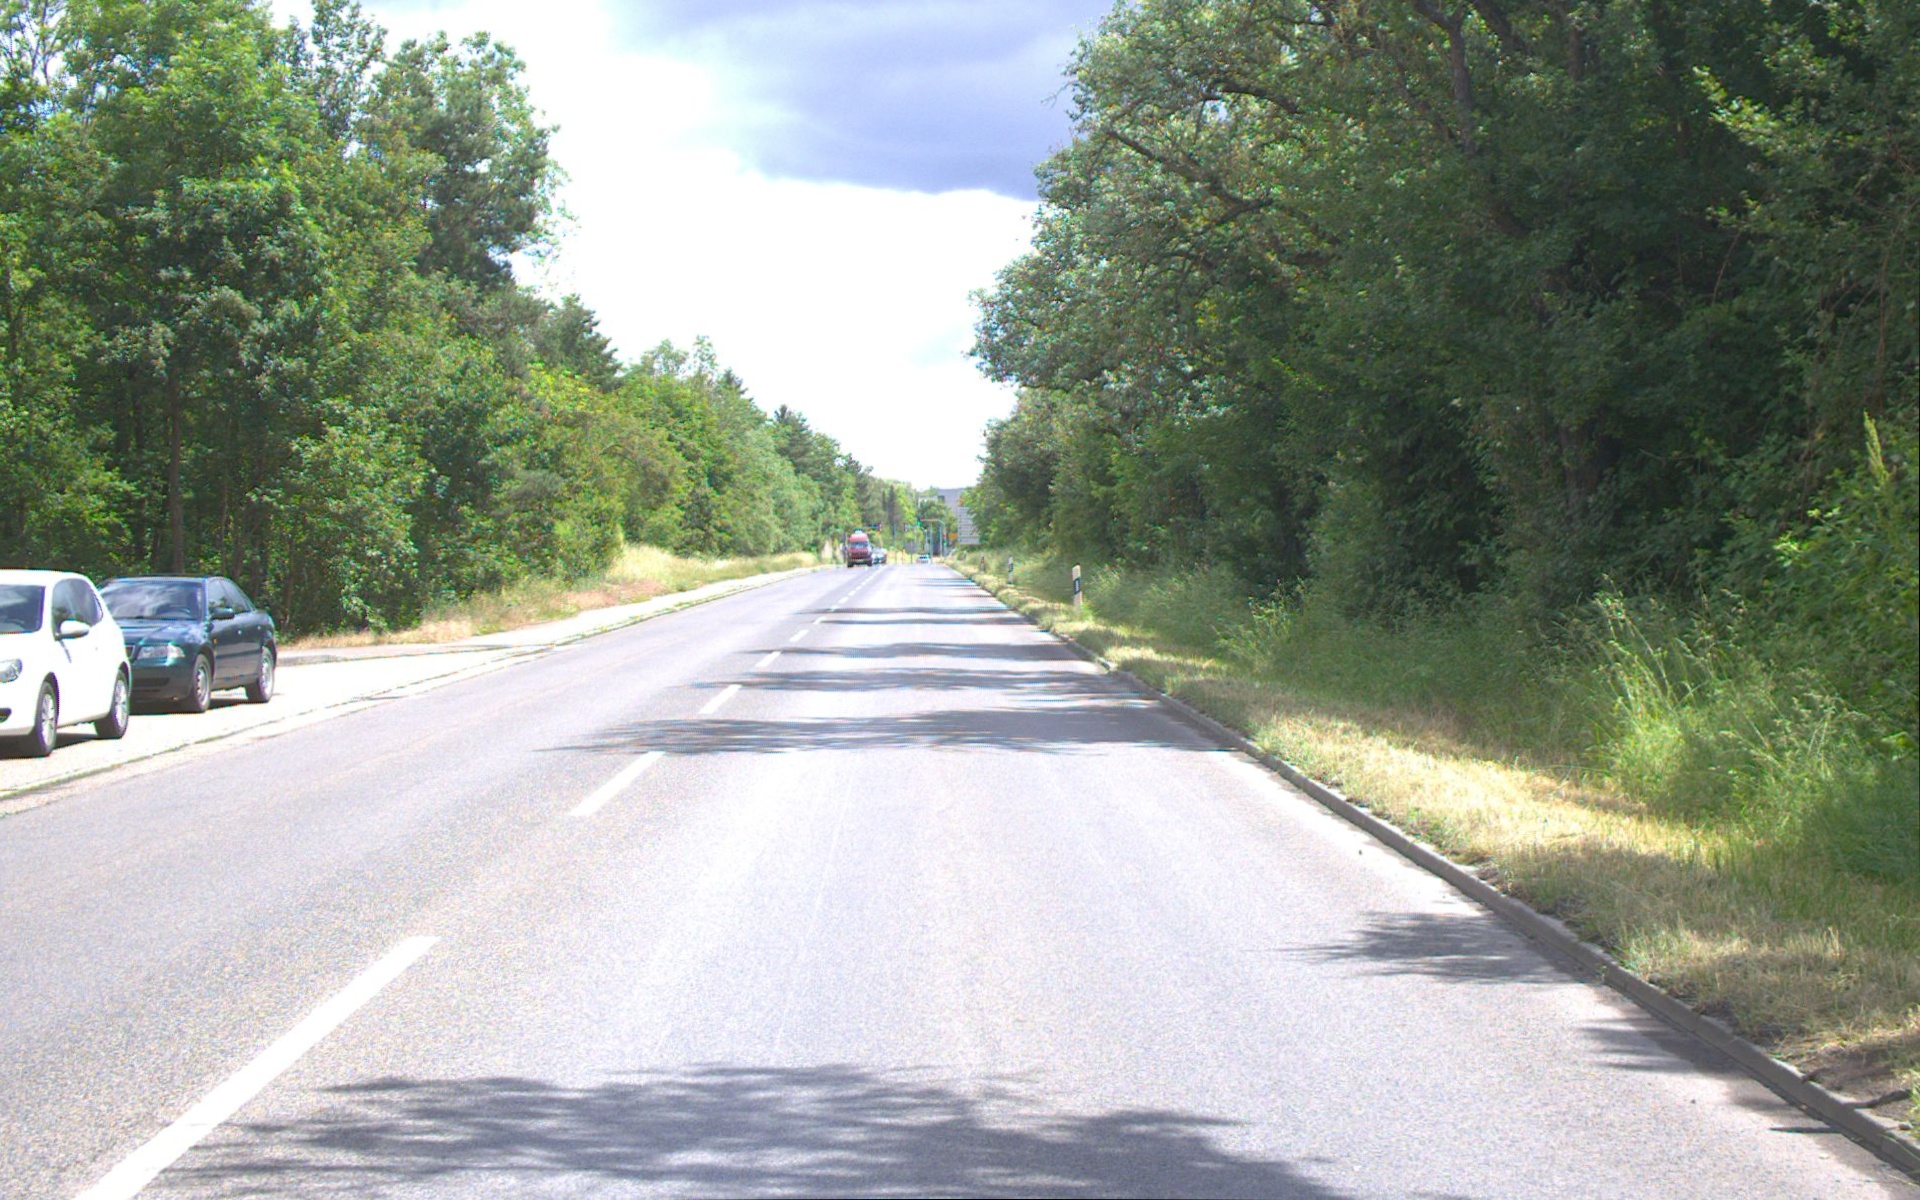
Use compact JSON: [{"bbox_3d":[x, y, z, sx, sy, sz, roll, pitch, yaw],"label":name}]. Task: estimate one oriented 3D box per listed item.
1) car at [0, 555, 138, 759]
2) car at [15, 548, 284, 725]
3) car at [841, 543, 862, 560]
[{"bbox_3d":[-8.176,0.417,28.525,1.798,1.538,3.955,0,1,-1],"label":"car"},{"bbox_3d":[-8.388,0.333,35.898,1.798,1.619,3.955,-1,2,1],"label":"car"},{"bbox_3d":[-7.909,-3.564,250.974,1.391,1.196,3.016,-1,1,-1],"label":"car"}]
